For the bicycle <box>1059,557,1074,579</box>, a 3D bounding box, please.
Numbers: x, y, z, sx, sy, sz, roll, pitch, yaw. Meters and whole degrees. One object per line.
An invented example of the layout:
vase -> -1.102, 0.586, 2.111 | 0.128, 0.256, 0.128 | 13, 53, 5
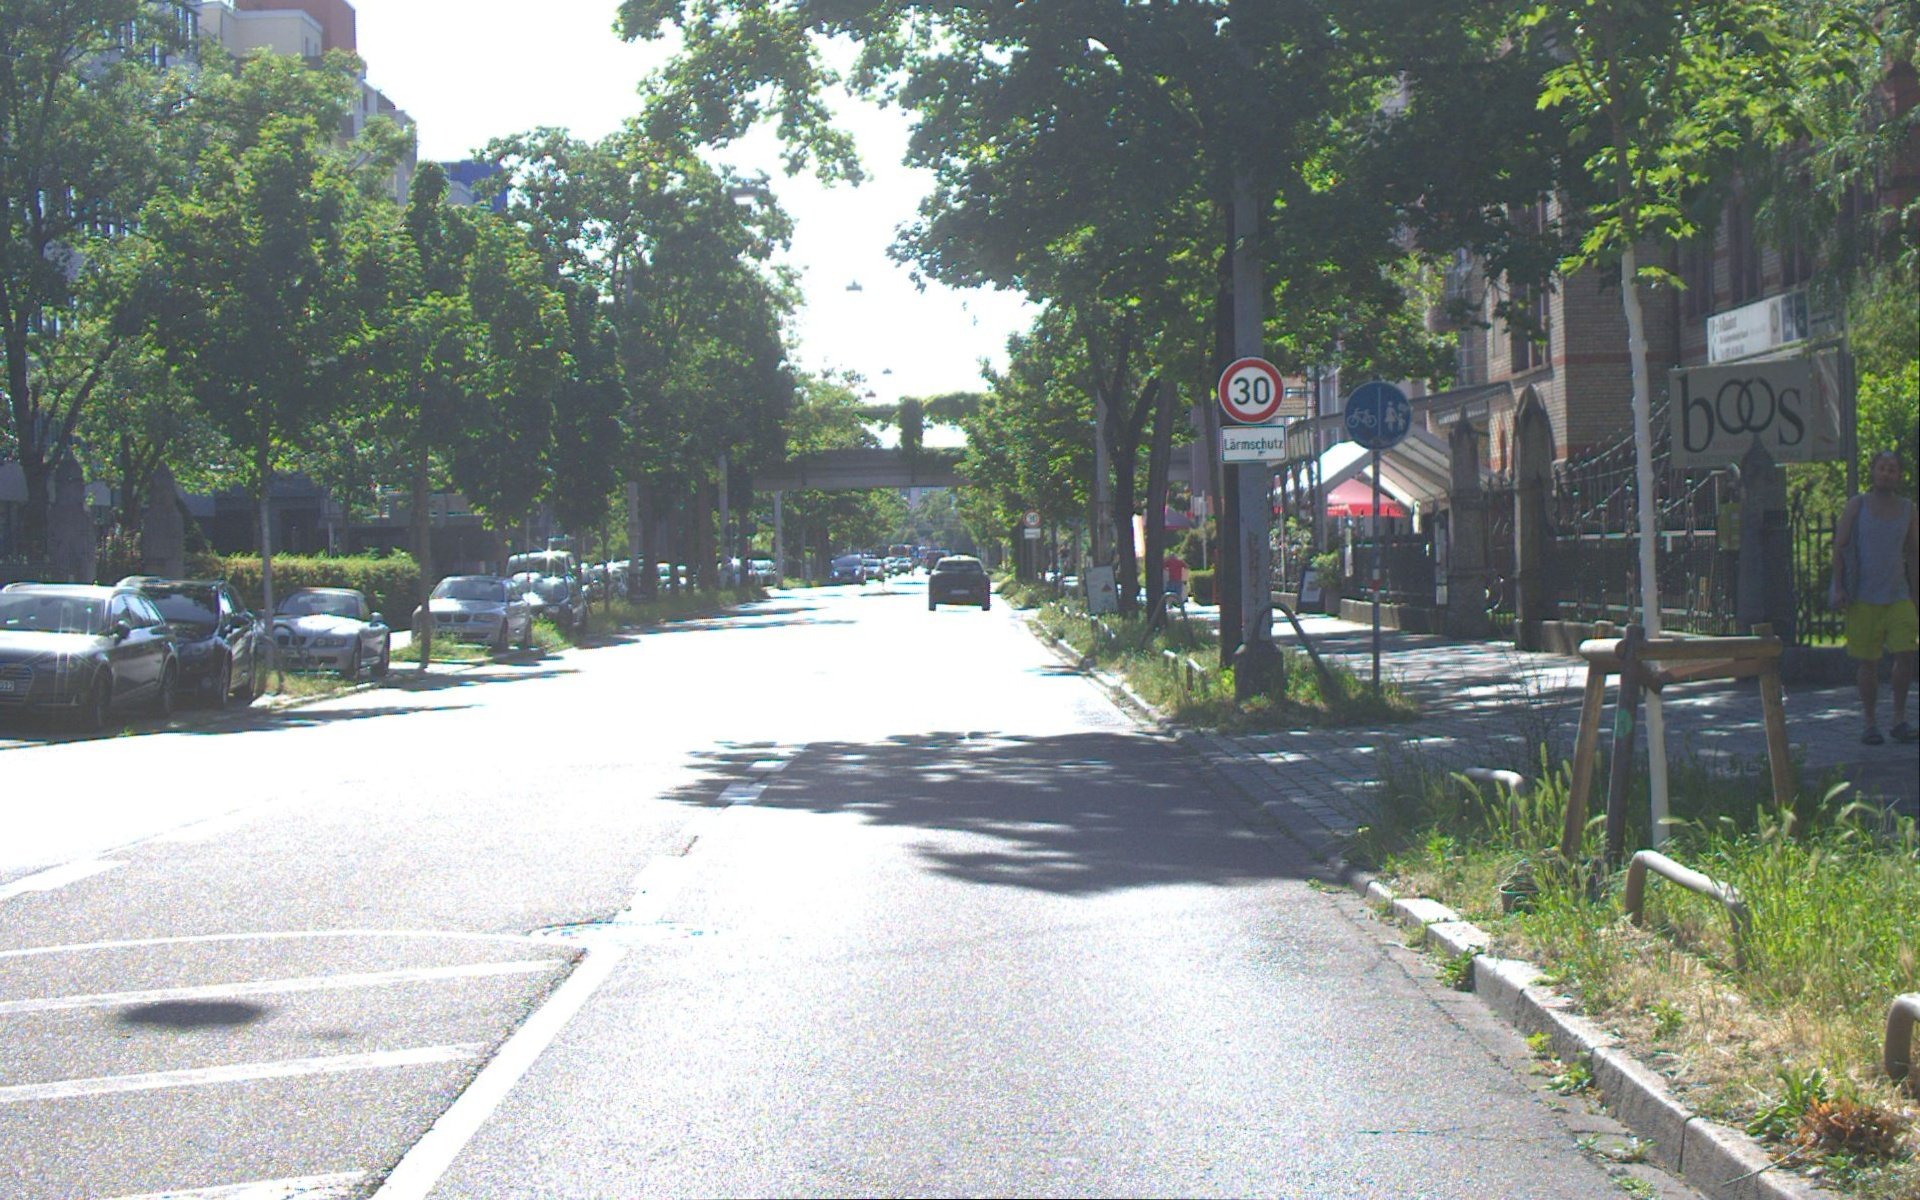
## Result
bicycle -> 4.960, -1.483, 160.538 | 0.589, 1.024, 1.860 | -1, 0, -1

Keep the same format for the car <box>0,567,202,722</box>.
car -> -9.516, 0.421, 36.346 | 1.856, 1.422, 4.720 | 3, 1, 1

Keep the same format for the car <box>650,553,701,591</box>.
car -> -11.793, -1.180, 142.827 | 1.855, 1.518, 4.319 | 0, 1, -1

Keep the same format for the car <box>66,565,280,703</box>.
car -> -9.508, 0.366, 41.857 | 1.855, 1.489, 4.707 | 2, 1, -5

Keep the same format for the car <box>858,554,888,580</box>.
car -> -5.614, -2.133, 222.888 | 1.855, 1.563, 4.716 | -2, 1, -1

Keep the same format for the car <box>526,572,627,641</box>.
car -> -8.510, 0.120, 76.506 | 1.712, 1.454, 4.072 | 0, 1, 1

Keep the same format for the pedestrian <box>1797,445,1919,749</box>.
pedestrian -> 5.553, -0.027, 21.001 | 0.748, 1.781, 0.810 | -4, 1, 14

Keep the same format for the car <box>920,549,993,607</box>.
car -> -0.115, -0.644, 98.311 | 1.984, 1.595, 4.141 | 0, 1, -1

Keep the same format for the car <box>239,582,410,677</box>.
car -> -9.057, 0.396, 49.246 | 1.678, 1.251, 4.015 | 0, 1, 0

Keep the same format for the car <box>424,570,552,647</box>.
car -> -8.918, 0.143, 65.237 | 1.688, 1.378, 4.191 | 0, 1, 3

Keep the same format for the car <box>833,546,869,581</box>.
car -> -6.001, -2.008, 189.306 | 1.855, 1.819, 4.610 | -2, 1, -1
